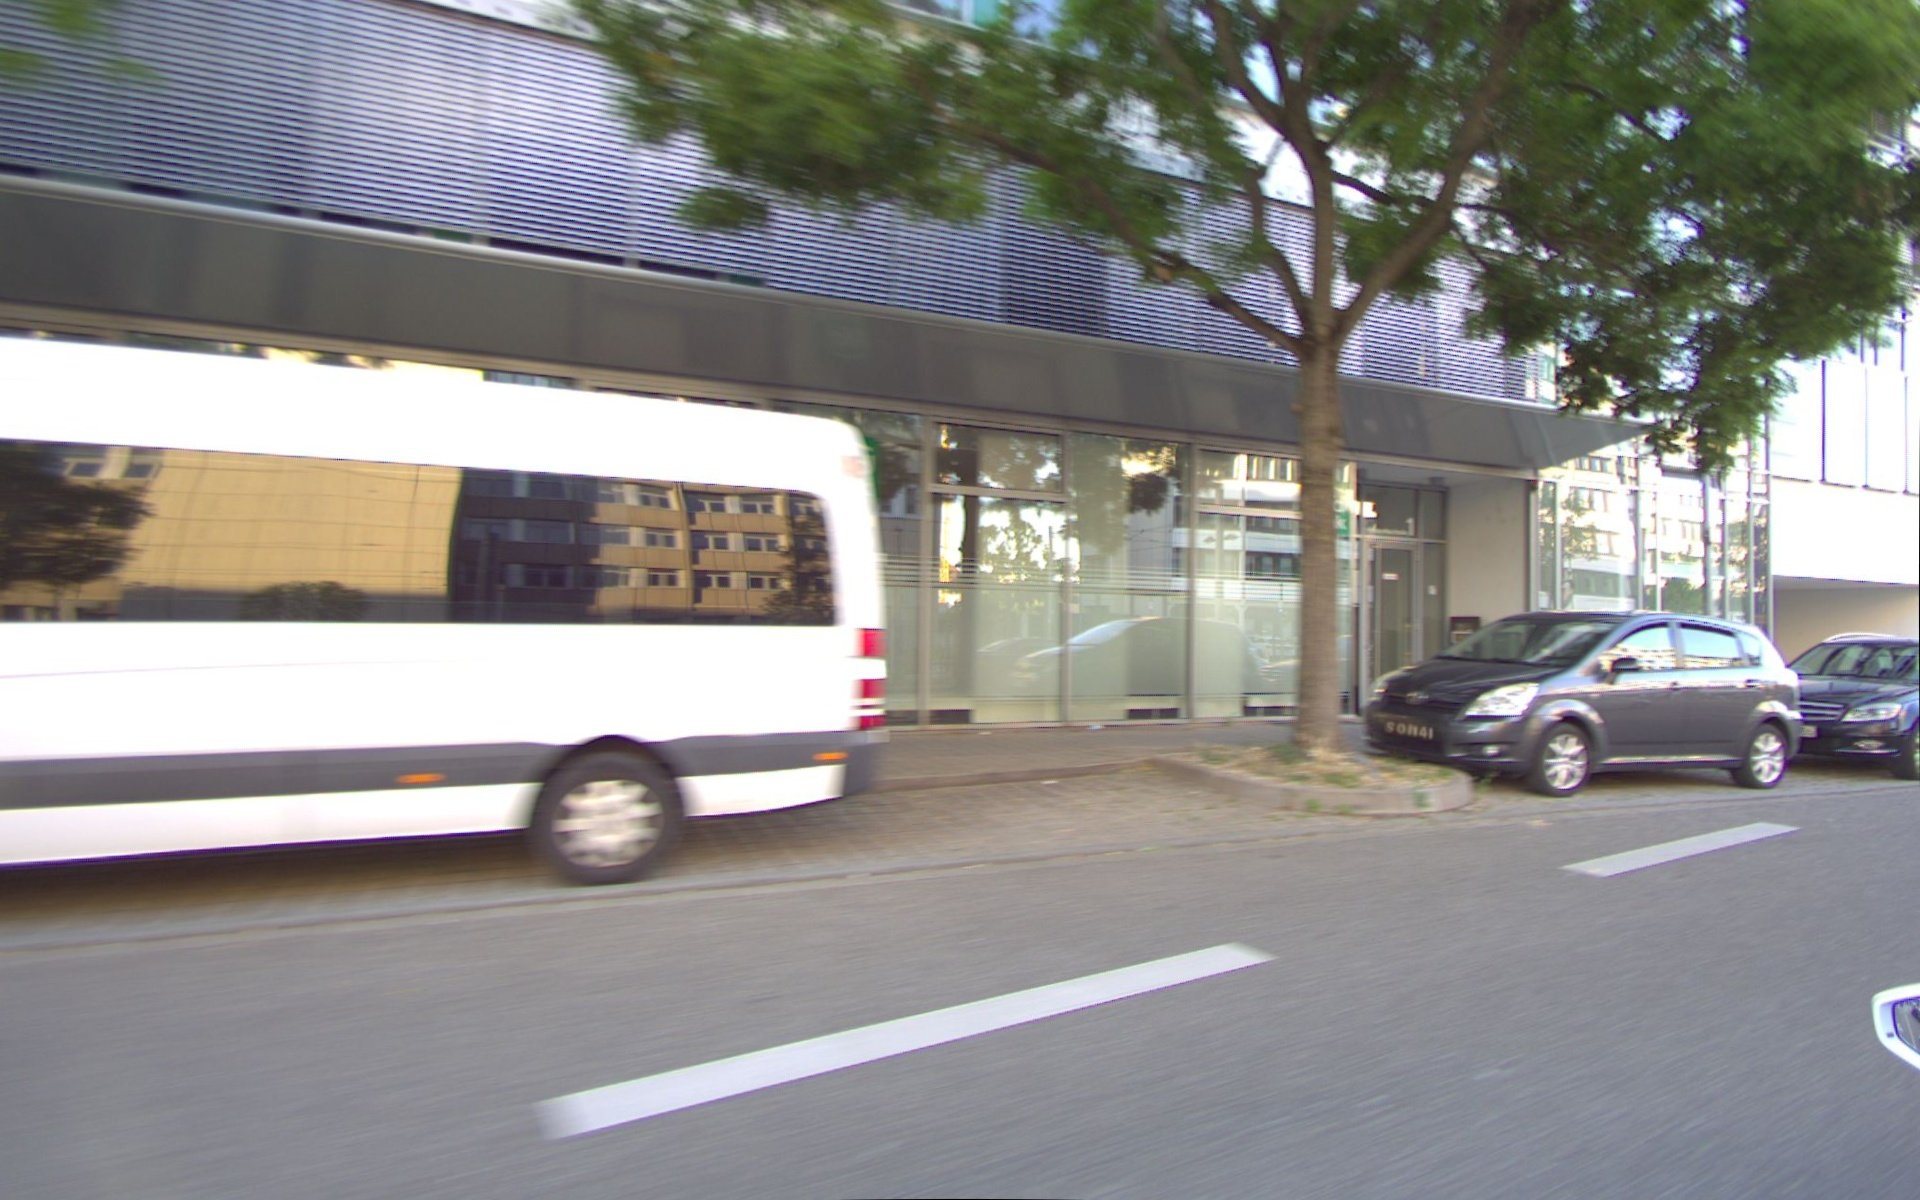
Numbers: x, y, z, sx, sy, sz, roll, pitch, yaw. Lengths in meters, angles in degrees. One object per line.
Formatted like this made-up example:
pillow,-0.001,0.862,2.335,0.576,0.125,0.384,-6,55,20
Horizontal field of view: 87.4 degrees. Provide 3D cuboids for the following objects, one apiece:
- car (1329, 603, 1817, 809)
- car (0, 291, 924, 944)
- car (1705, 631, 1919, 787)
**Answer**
car,5.767,0.875,9.454,4.206,1.592,1.840,1,-1,-23
car,-3.767,0.100,5.381,6.852,2.699,2.096,1,-1,-23
car,10.577,1.112,11.377,4.342,1.471,1.708,1,-1,-27
